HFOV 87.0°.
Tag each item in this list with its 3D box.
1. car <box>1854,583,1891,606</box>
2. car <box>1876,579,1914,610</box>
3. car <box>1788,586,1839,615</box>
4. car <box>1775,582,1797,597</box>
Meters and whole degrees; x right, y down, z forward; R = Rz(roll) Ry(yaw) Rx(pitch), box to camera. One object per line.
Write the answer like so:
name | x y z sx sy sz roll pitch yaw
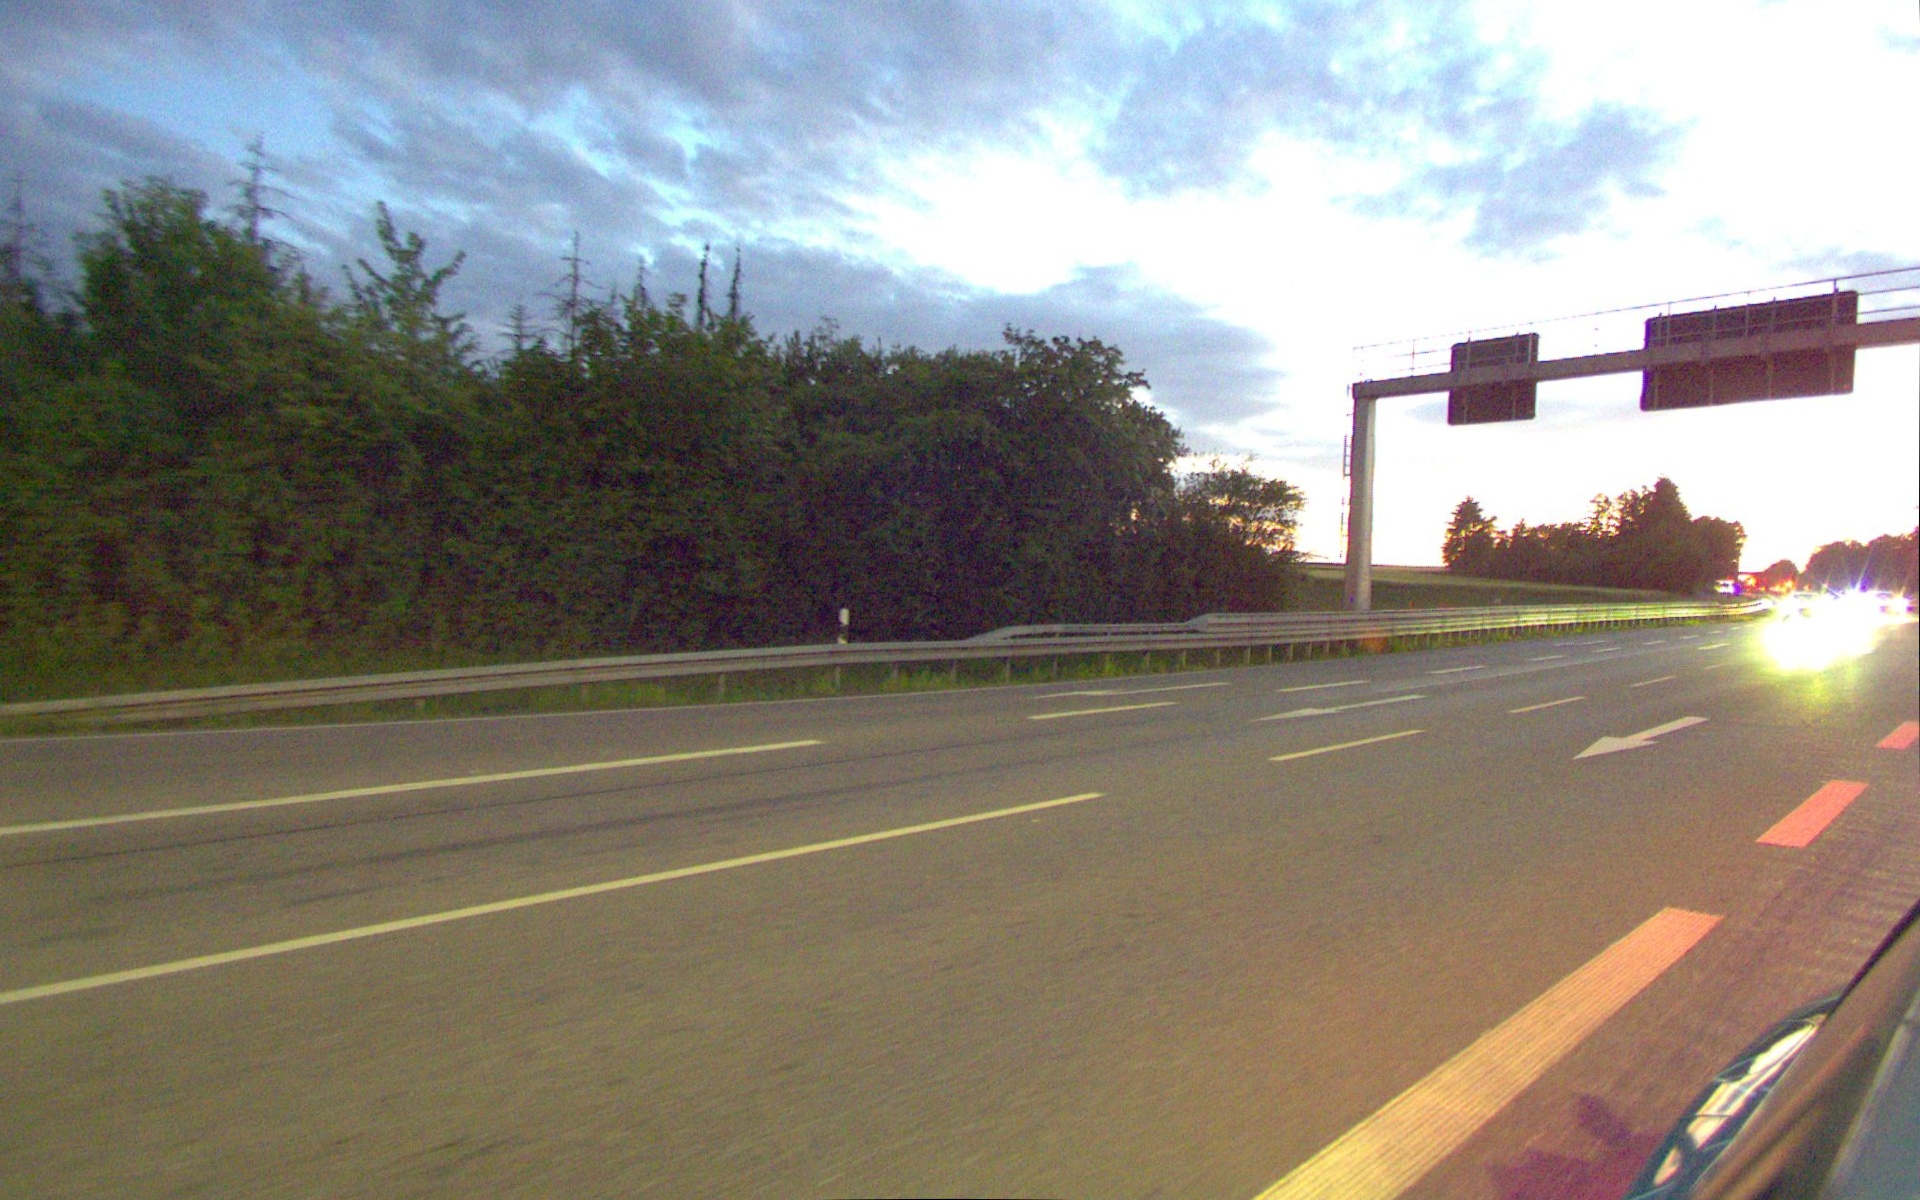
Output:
car | 70.298 -0.422 78.018 1.824 1.772 3.796 -1 -1 39
car | 63.319 -0.357 68.519 1.857 2.039 3.938 0 0 43
car | 48.537 0.028 57.559 1.993 1.604 3.937 0 0 43
car | 91.253 -1.139 111.769 1.848 1.642 3.943 1 1 39
